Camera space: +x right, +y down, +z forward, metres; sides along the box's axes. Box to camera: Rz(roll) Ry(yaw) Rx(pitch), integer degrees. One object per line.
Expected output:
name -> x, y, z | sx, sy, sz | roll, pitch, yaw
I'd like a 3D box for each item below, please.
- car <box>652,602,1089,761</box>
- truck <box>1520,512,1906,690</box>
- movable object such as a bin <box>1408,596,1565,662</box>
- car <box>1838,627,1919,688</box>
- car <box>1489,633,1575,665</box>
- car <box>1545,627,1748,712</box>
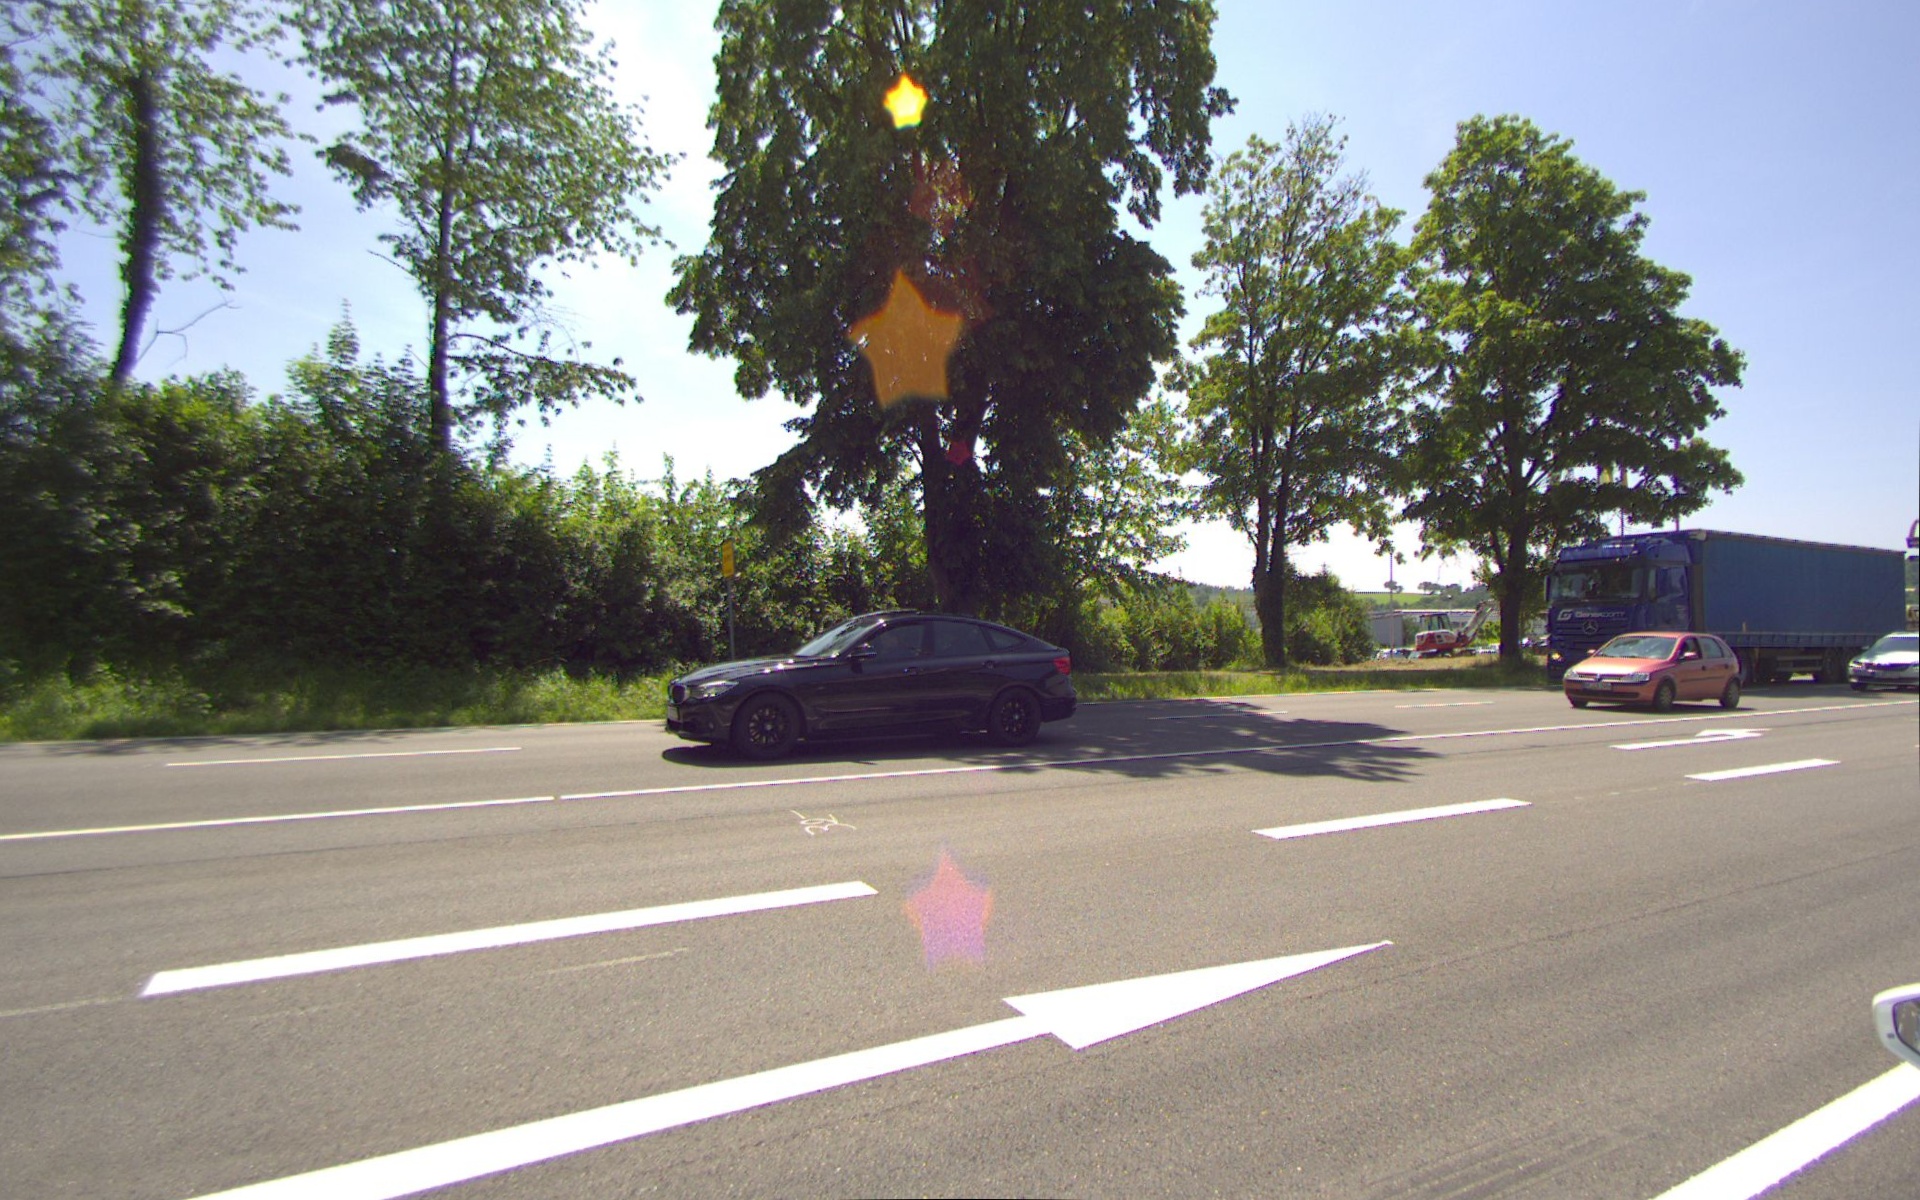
car -> -0.938, 0.886, 11.522 | 4.634, 1.500, 1.909 | 2, -3, -31
truck -> 22.515, 0.250, 29.313 | 16.381, 4.231, 2.954 | 2, -2, -31
movable object such as a bin -> 27.285, 1.499, 52.423 | 6.654, 3.342, 3.055 | 0, -1, 12
car -> 24.402, 1.445, 25.666 | 4.511, 1.433, 1.691 | 2, -2, -31
car -> 41.712, 3.525, 73.307 | 5.087, 2.212, 2.001 | 0, -1, 9
car -> 13.025, 1.260, 19.044 | 3.731, 1.465, 1.759 | 2, -2, -30
